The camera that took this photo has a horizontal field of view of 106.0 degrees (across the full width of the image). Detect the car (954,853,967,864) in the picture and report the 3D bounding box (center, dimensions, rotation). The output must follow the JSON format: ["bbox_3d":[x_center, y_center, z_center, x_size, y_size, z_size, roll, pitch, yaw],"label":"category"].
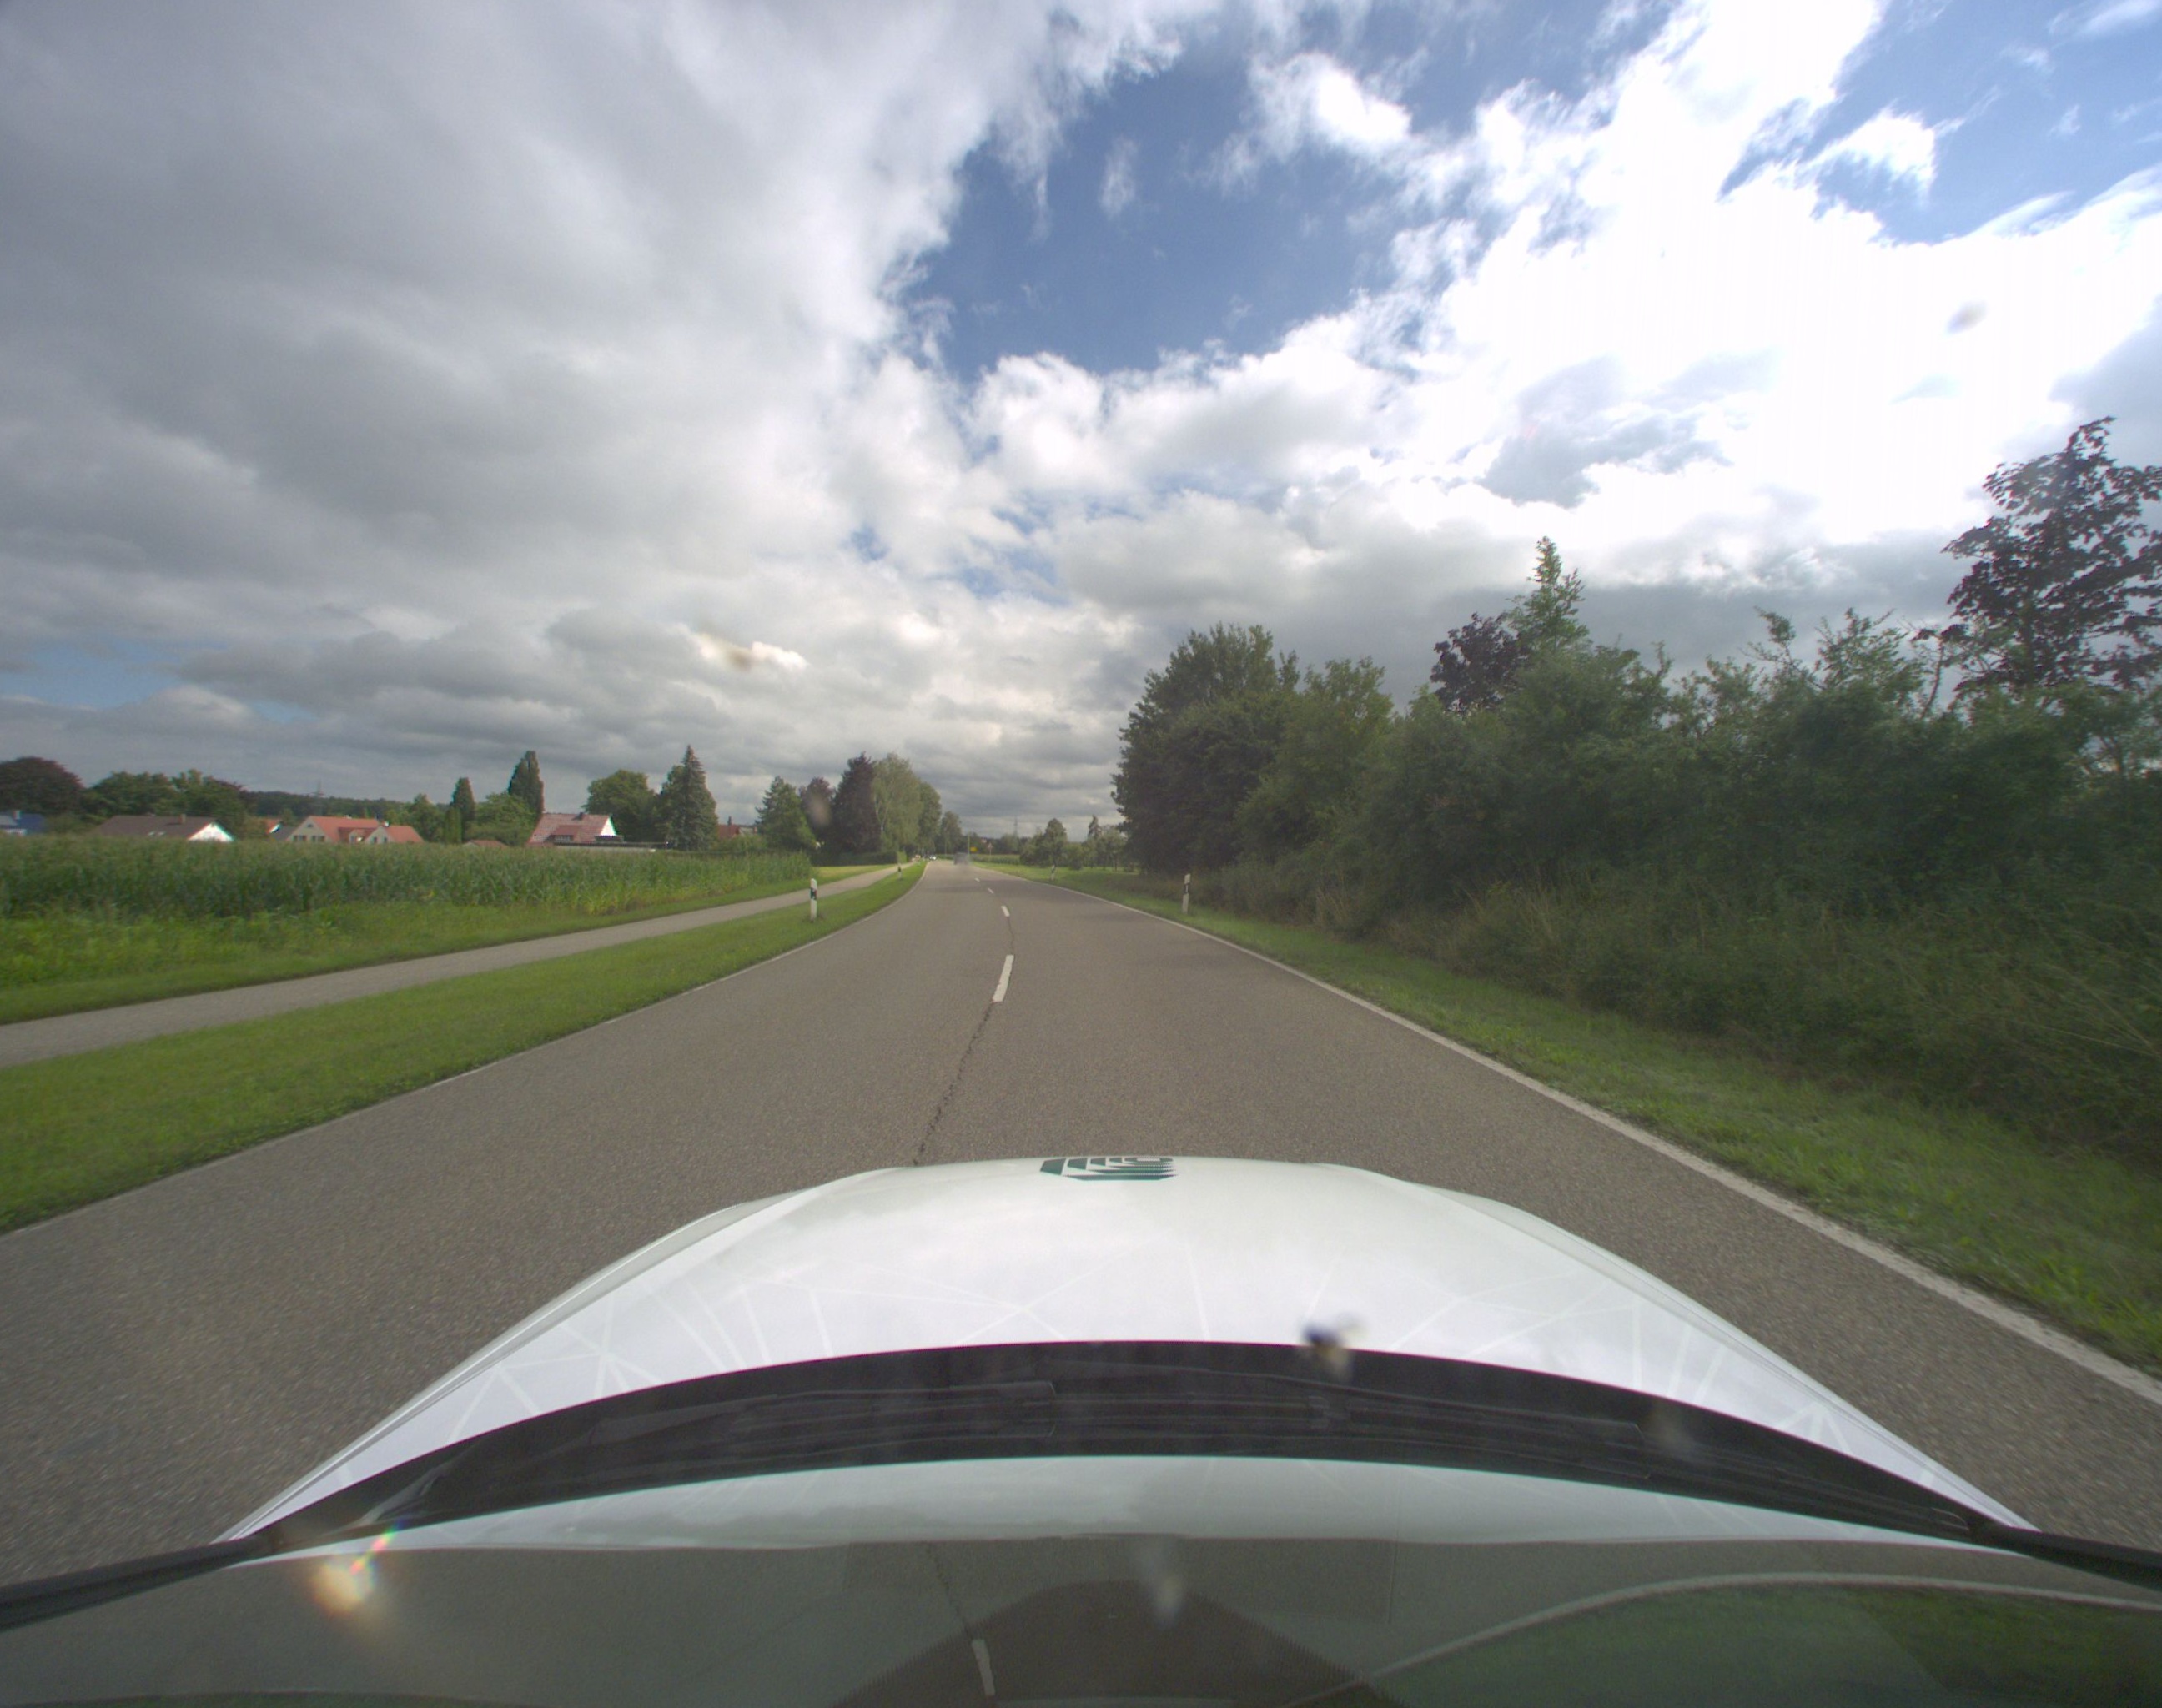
[{"bbox_3d":[-17.378,0.659,117.588,1.905,1.666,3.989,0,0,-8],"label":"car"}]
